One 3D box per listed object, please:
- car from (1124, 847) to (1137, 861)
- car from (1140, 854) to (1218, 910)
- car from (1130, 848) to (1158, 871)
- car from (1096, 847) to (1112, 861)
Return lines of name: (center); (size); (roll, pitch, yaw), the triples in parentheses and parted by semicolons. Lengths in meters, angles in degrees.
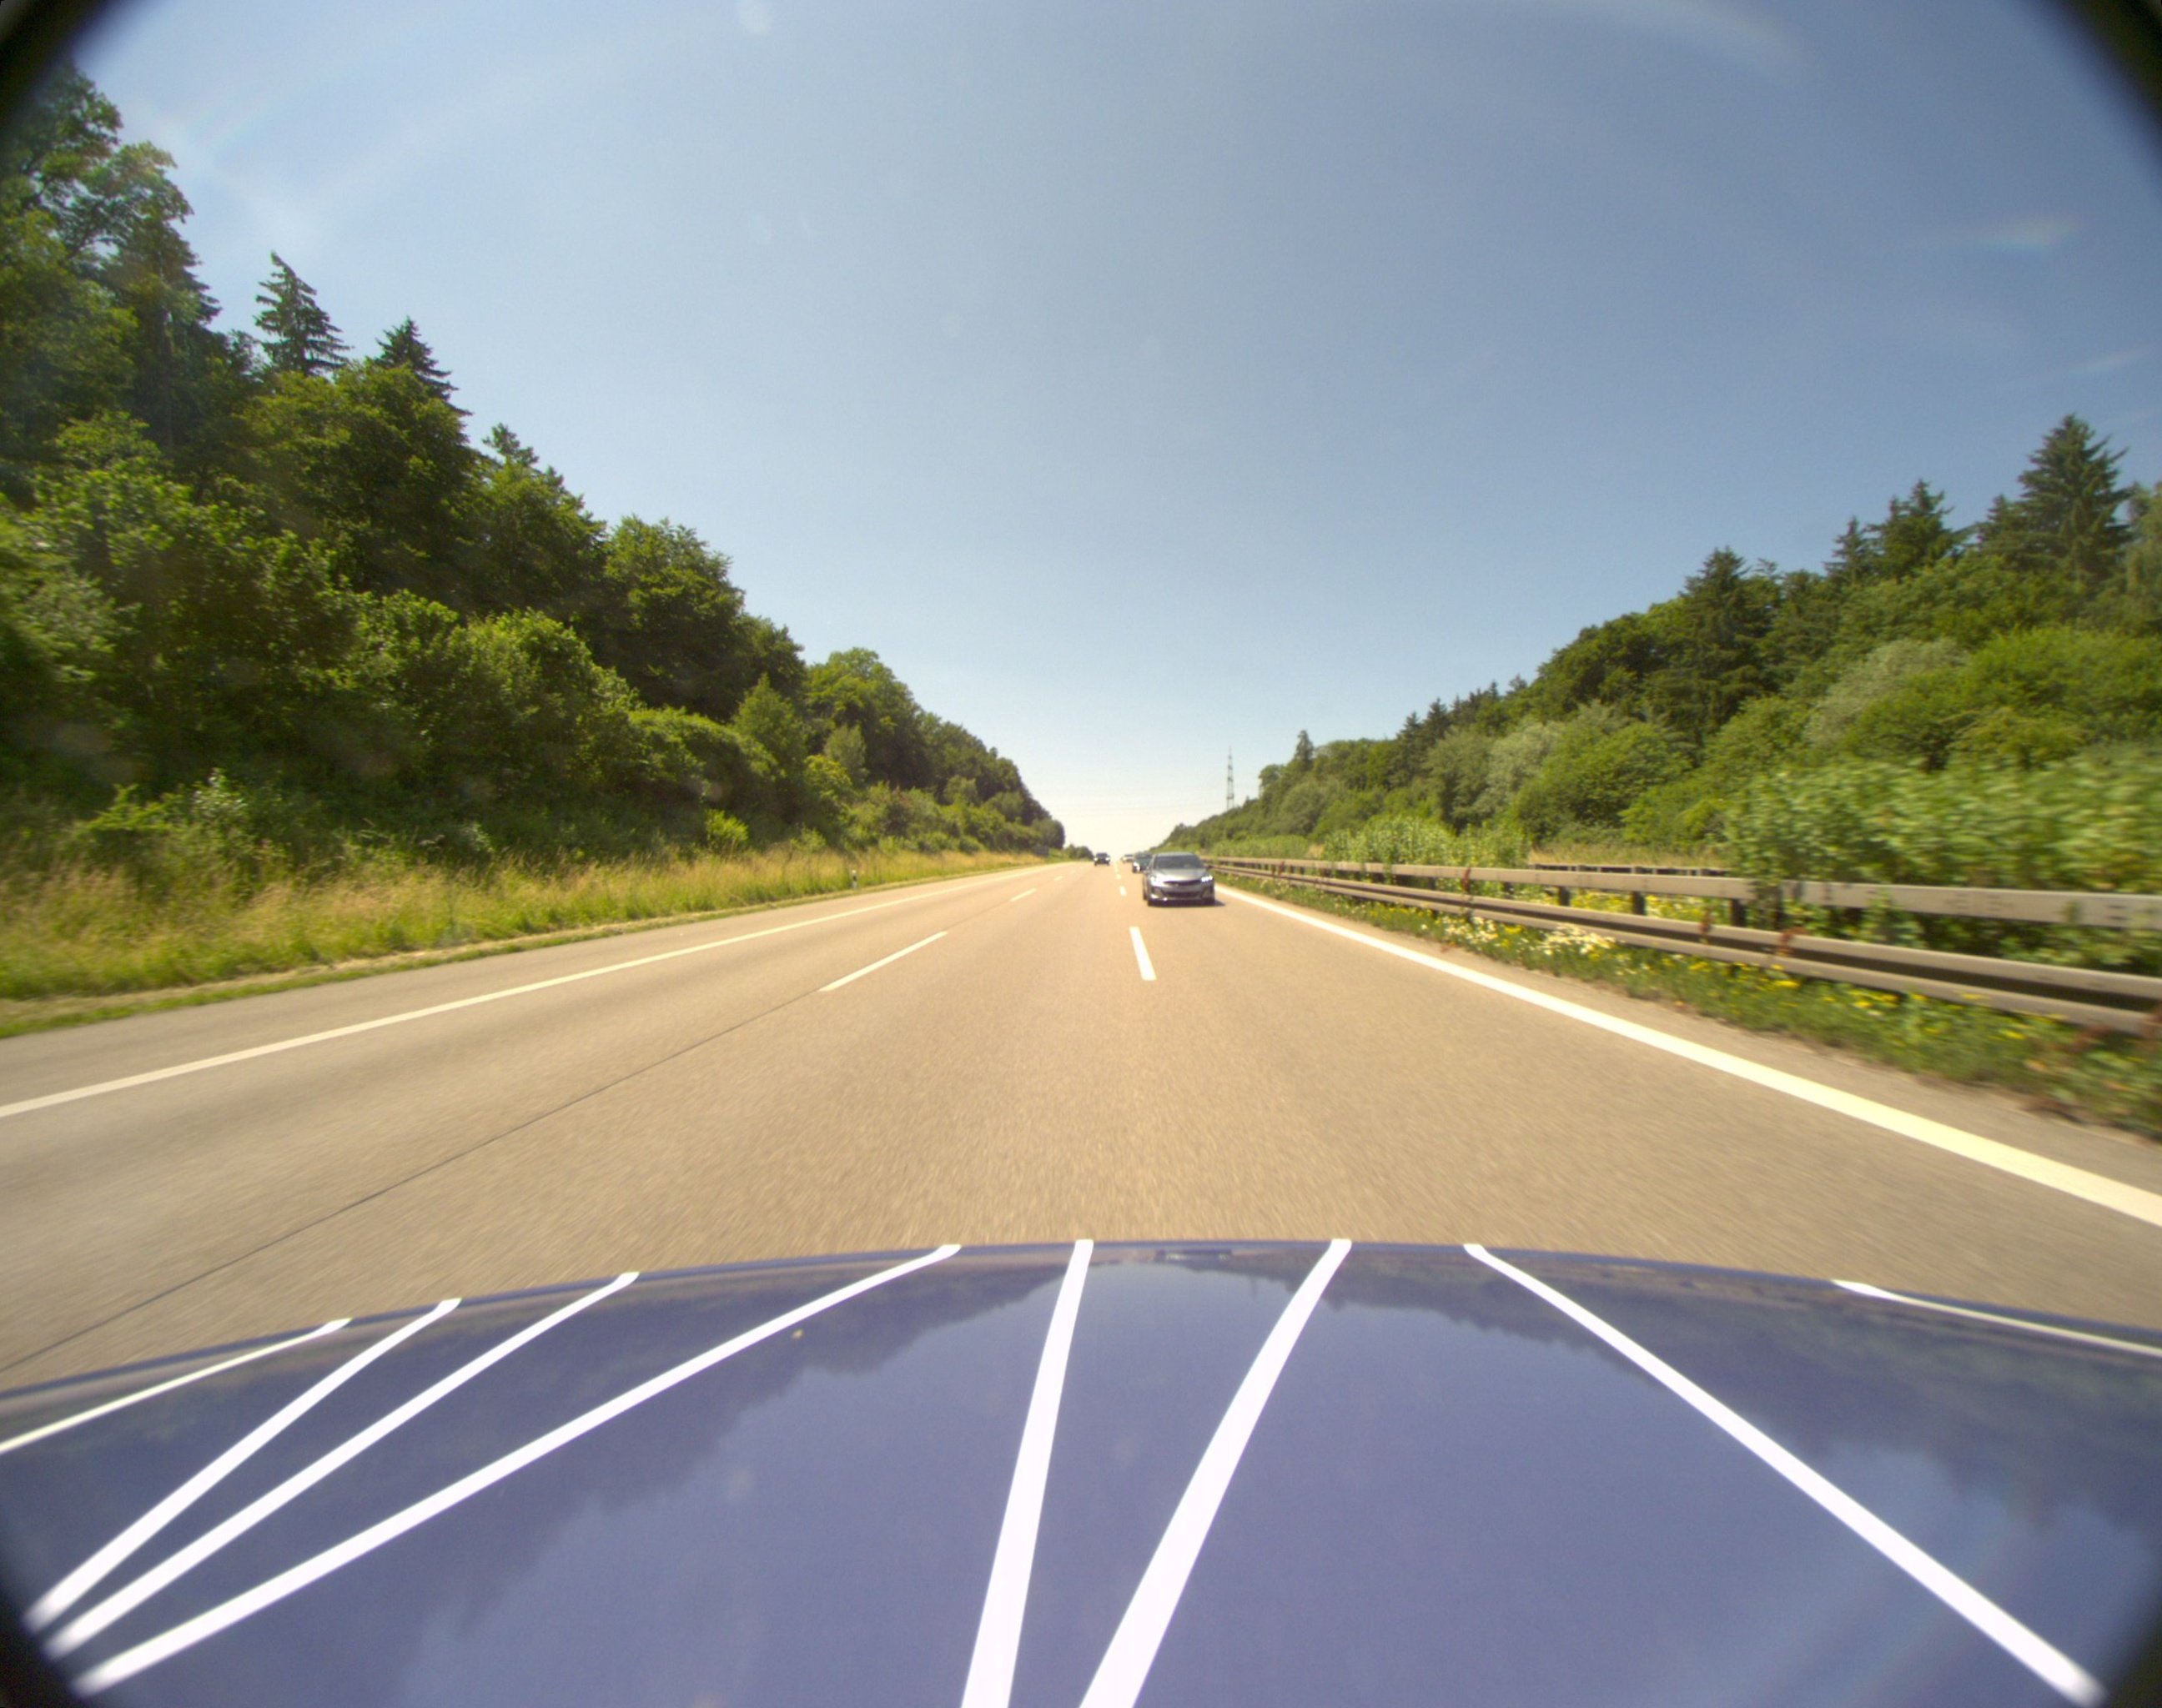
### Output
car: (7.560, 0.016, 116.549); (1.875, 2.002, 4.000); (-2, 0, 2)
car: (2.692, 0.733, 21.728); (1.768, 1.400, 3.999); (-2, 0, 1)
car: (4.622, 0.369, 55.772); (1.741, 1.610, 3.943); (-2, 0, 1)
car: (2.851, -0.006, 94.349); (1.787, 1.550, 3.943); (-2, 0, 1)
